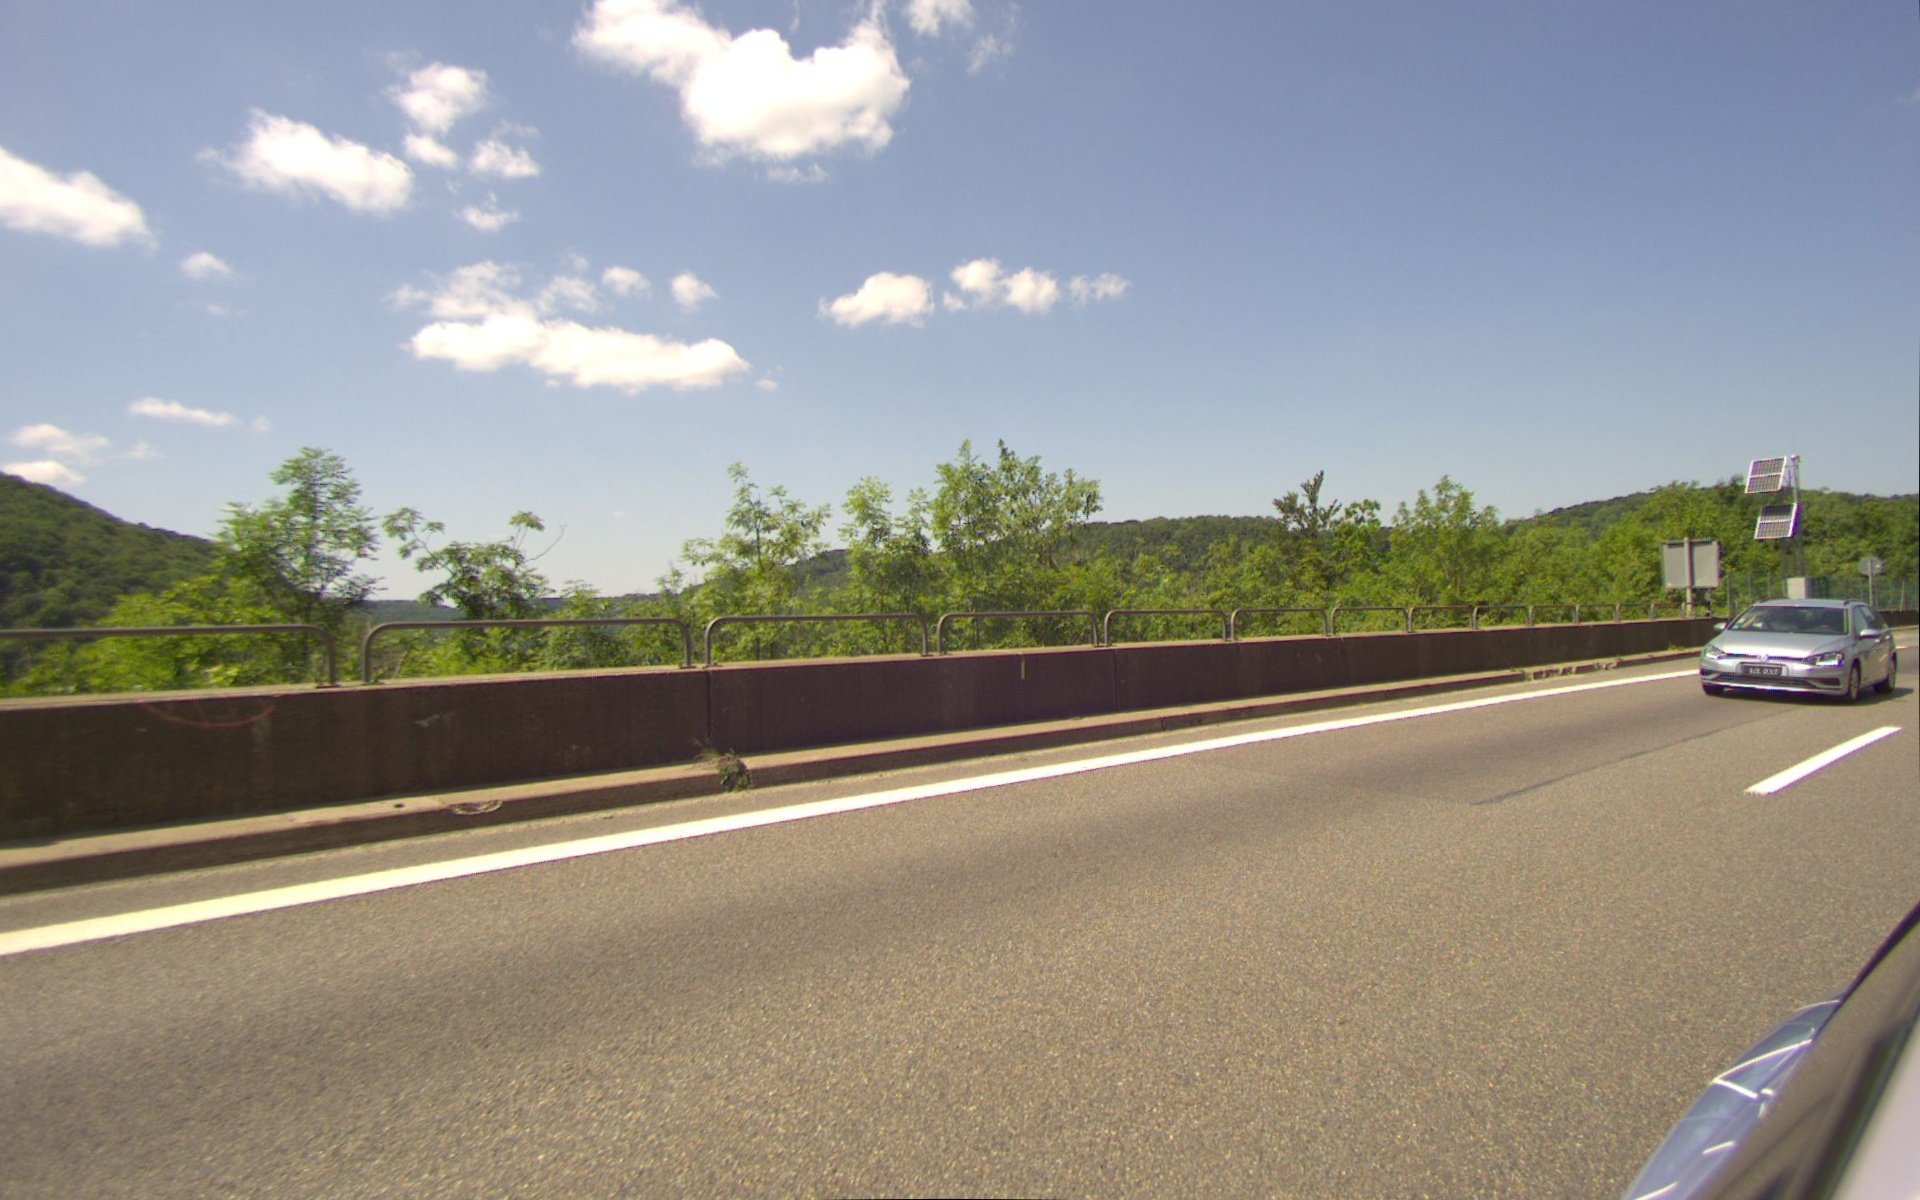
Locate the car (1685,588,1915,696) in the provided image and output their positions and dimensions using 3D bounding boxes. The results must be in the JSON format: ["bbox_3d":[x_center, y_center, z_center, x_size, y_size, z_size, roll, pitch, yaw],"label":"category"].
[{"bbox_3d":[12.934,0.533,15.500,4.217,1.395,1.972,-1,1,-39],"label":"car"}]
